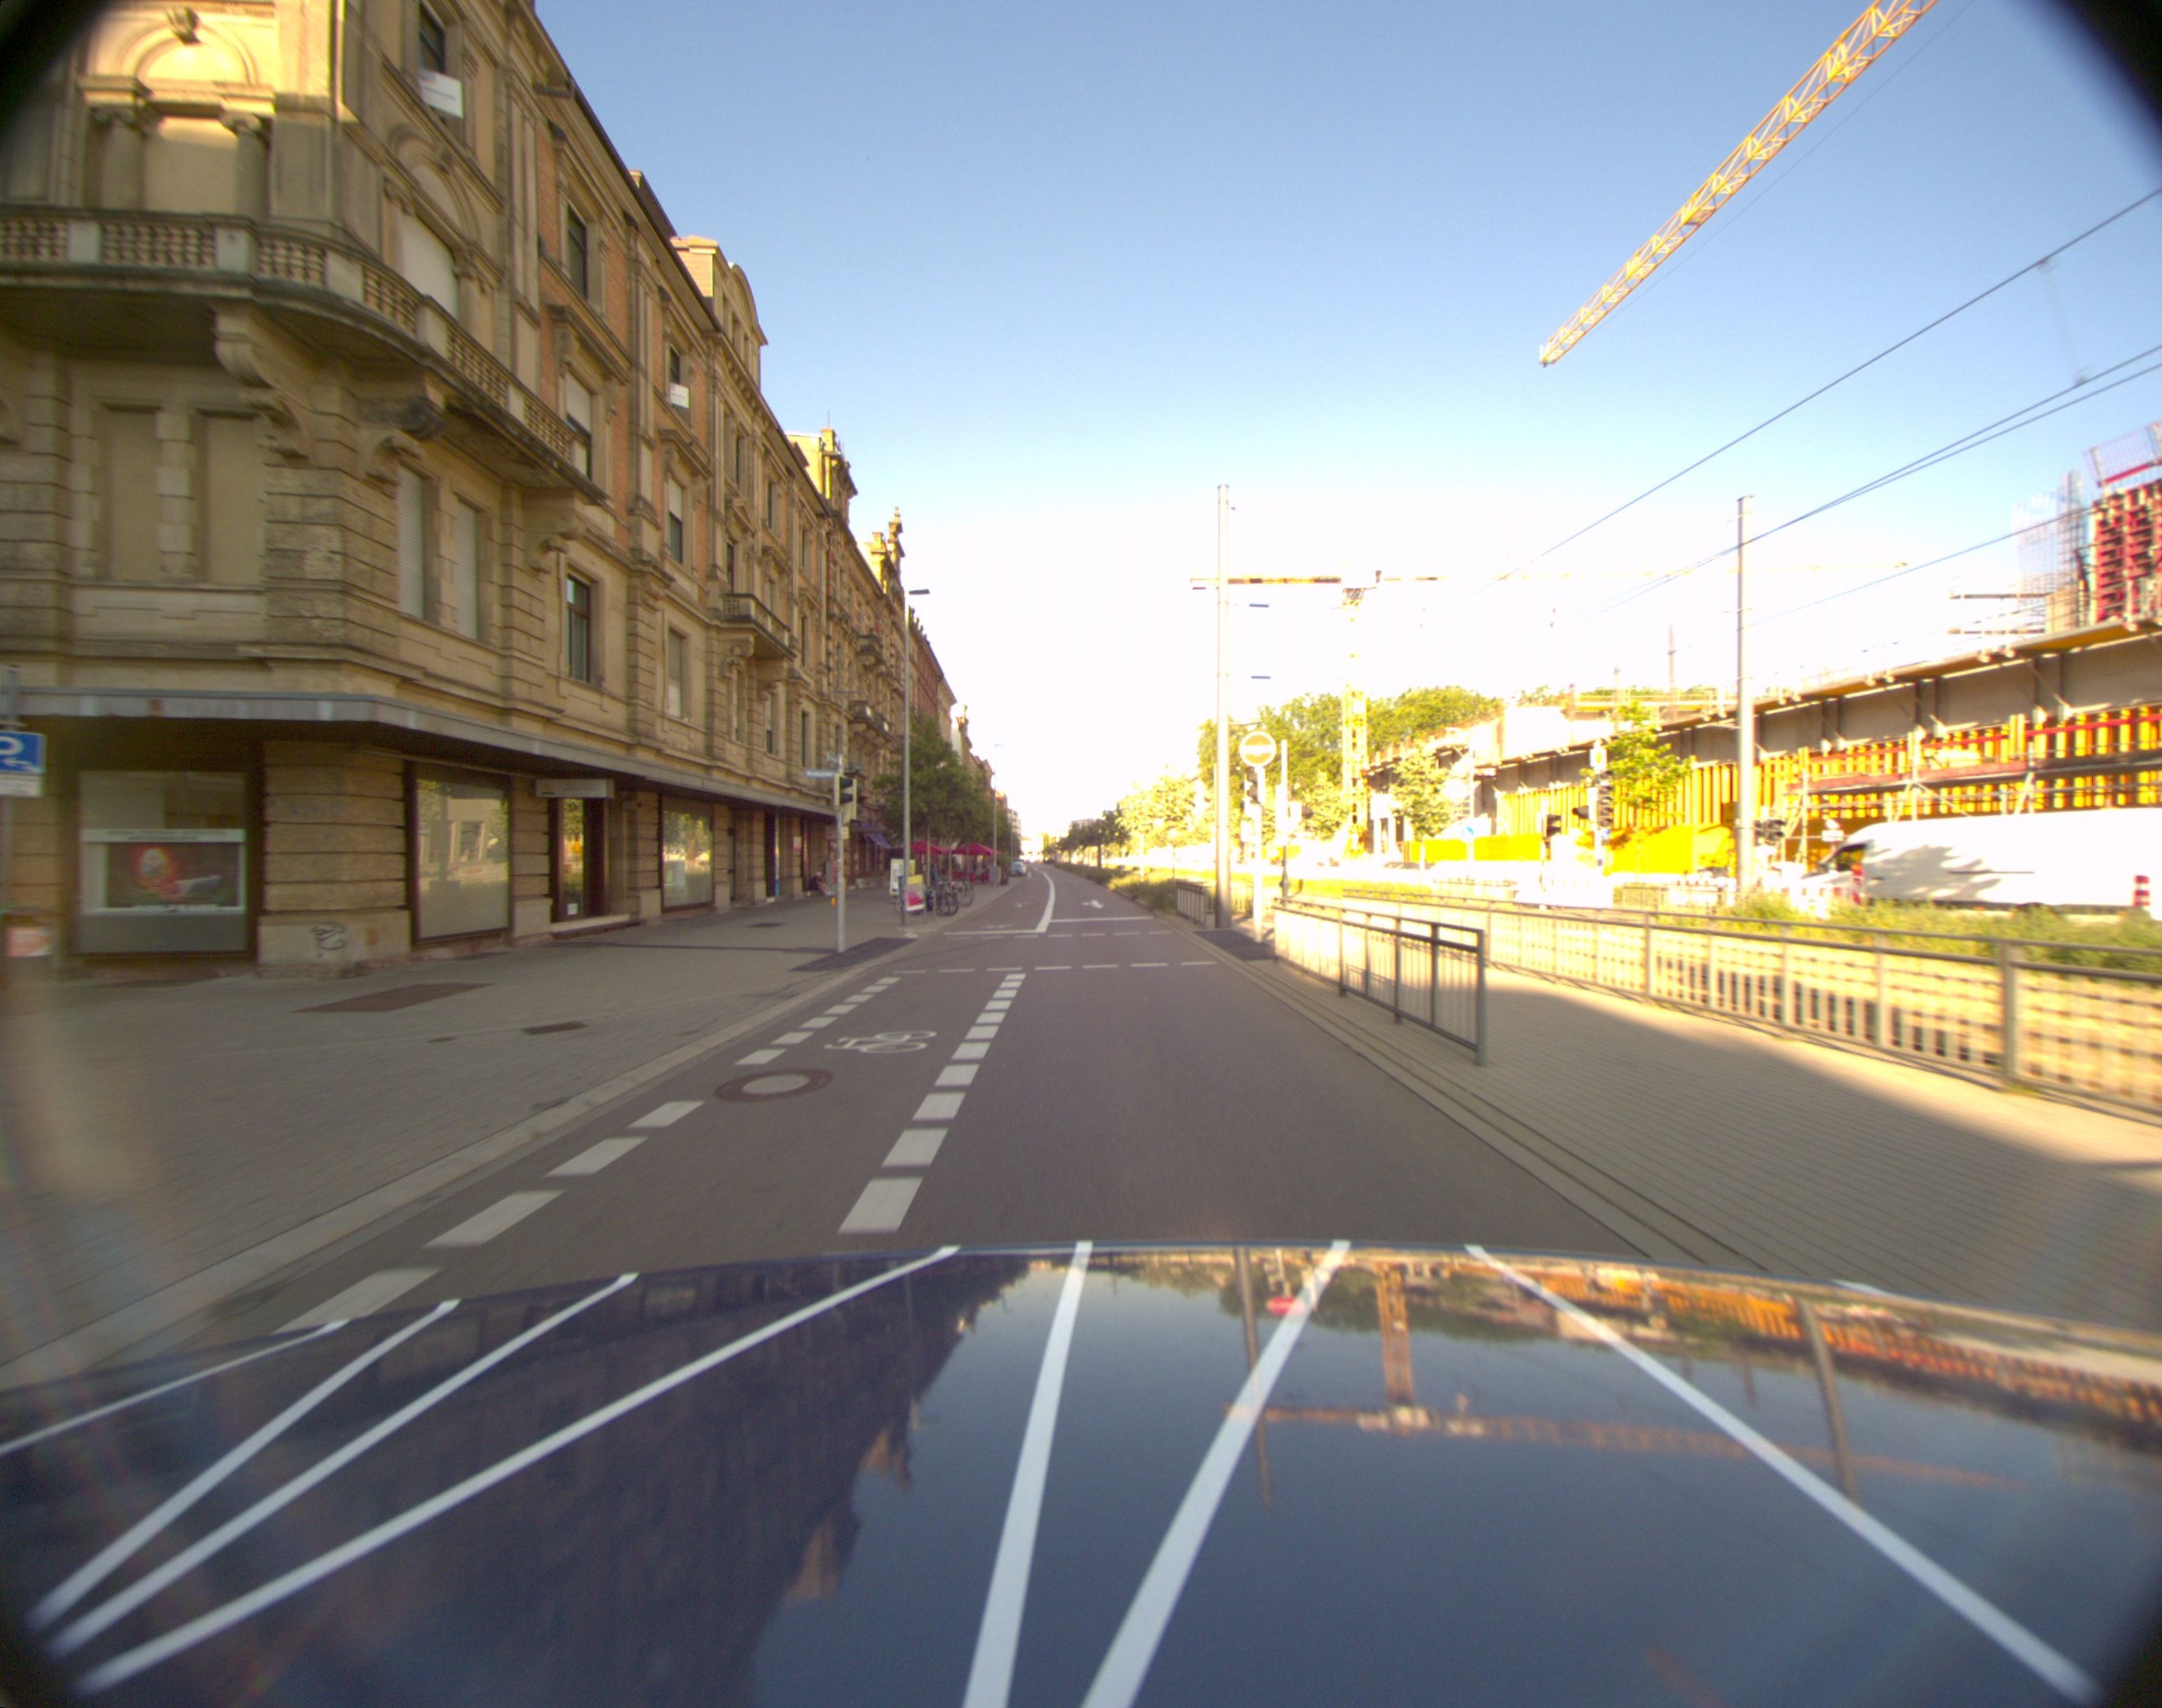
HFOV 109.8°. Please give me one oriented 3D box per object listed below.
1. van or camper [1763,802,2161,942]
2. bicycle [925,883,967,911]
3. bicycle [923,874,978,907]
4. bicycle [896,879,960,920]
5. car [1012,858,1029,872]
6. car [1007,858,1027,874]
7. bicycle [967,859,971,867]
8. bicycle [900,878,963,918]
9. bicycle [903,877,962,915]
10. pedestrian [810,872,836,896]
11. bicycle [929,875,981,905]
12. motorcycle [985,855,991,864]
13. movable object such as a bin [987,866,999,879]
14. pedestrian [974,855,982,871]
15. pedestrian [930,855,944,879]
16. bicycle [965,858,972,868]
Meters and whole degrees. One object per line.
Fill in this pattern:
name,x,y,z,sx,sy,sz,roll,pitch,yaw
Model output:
van or camper,19.883,0.380,17.141,2.228,2.495,7.199,1,-1,-3
bicycle,-4.554,1.435,25.617,1.277,0.872,0.507,2,0,3
bicycle,-4.669,1.307,27.272,1.848,1.098,0.566,2,0,3
bicycle,-4.486,1.331,22.307,1.757,1.098,0.507,2,0,3
car,-6.871,1.240,87.005,1.854,1.445,5.250,1,0,-4
car,-6.758,1.225,80.311,1.854,1.555,4.295,1,0,-3
bicycle,-14.207,1.161,96.183,0.344,1.027,2.072,-1,0,-3
bicycle,-4.487,1.312,22.898,1.757,1.098,0.507,2,0,3
bicycle,-4.708,1.332,24.173,1.725,1.098,0.507,2,0,3
pedestrian,-10.639,1.222,31.388,0.816,0.957,0.804,0,0,-1
bicycle,-4.771,1.350,28.780,1.809,1.041,0.566,2,0,3
motorcycle,-14.918,0.921,121.762,0.788,1.413,2.053,0,0,-3
movable object such as a bin,-6.936,1.444,59.840,0.676,0.919,0.561,3,2,17
pedestrian,-11.559,0.969,85.081,0.749,1.744,1.071,1,1,-3
pedestrian,-9.153,0.821,48.289,0.730,1.525,0.796,1,1,-3
bicycle,-13.823,1.069,93.493,0.706,1.213,2.072,-1,0,-3
